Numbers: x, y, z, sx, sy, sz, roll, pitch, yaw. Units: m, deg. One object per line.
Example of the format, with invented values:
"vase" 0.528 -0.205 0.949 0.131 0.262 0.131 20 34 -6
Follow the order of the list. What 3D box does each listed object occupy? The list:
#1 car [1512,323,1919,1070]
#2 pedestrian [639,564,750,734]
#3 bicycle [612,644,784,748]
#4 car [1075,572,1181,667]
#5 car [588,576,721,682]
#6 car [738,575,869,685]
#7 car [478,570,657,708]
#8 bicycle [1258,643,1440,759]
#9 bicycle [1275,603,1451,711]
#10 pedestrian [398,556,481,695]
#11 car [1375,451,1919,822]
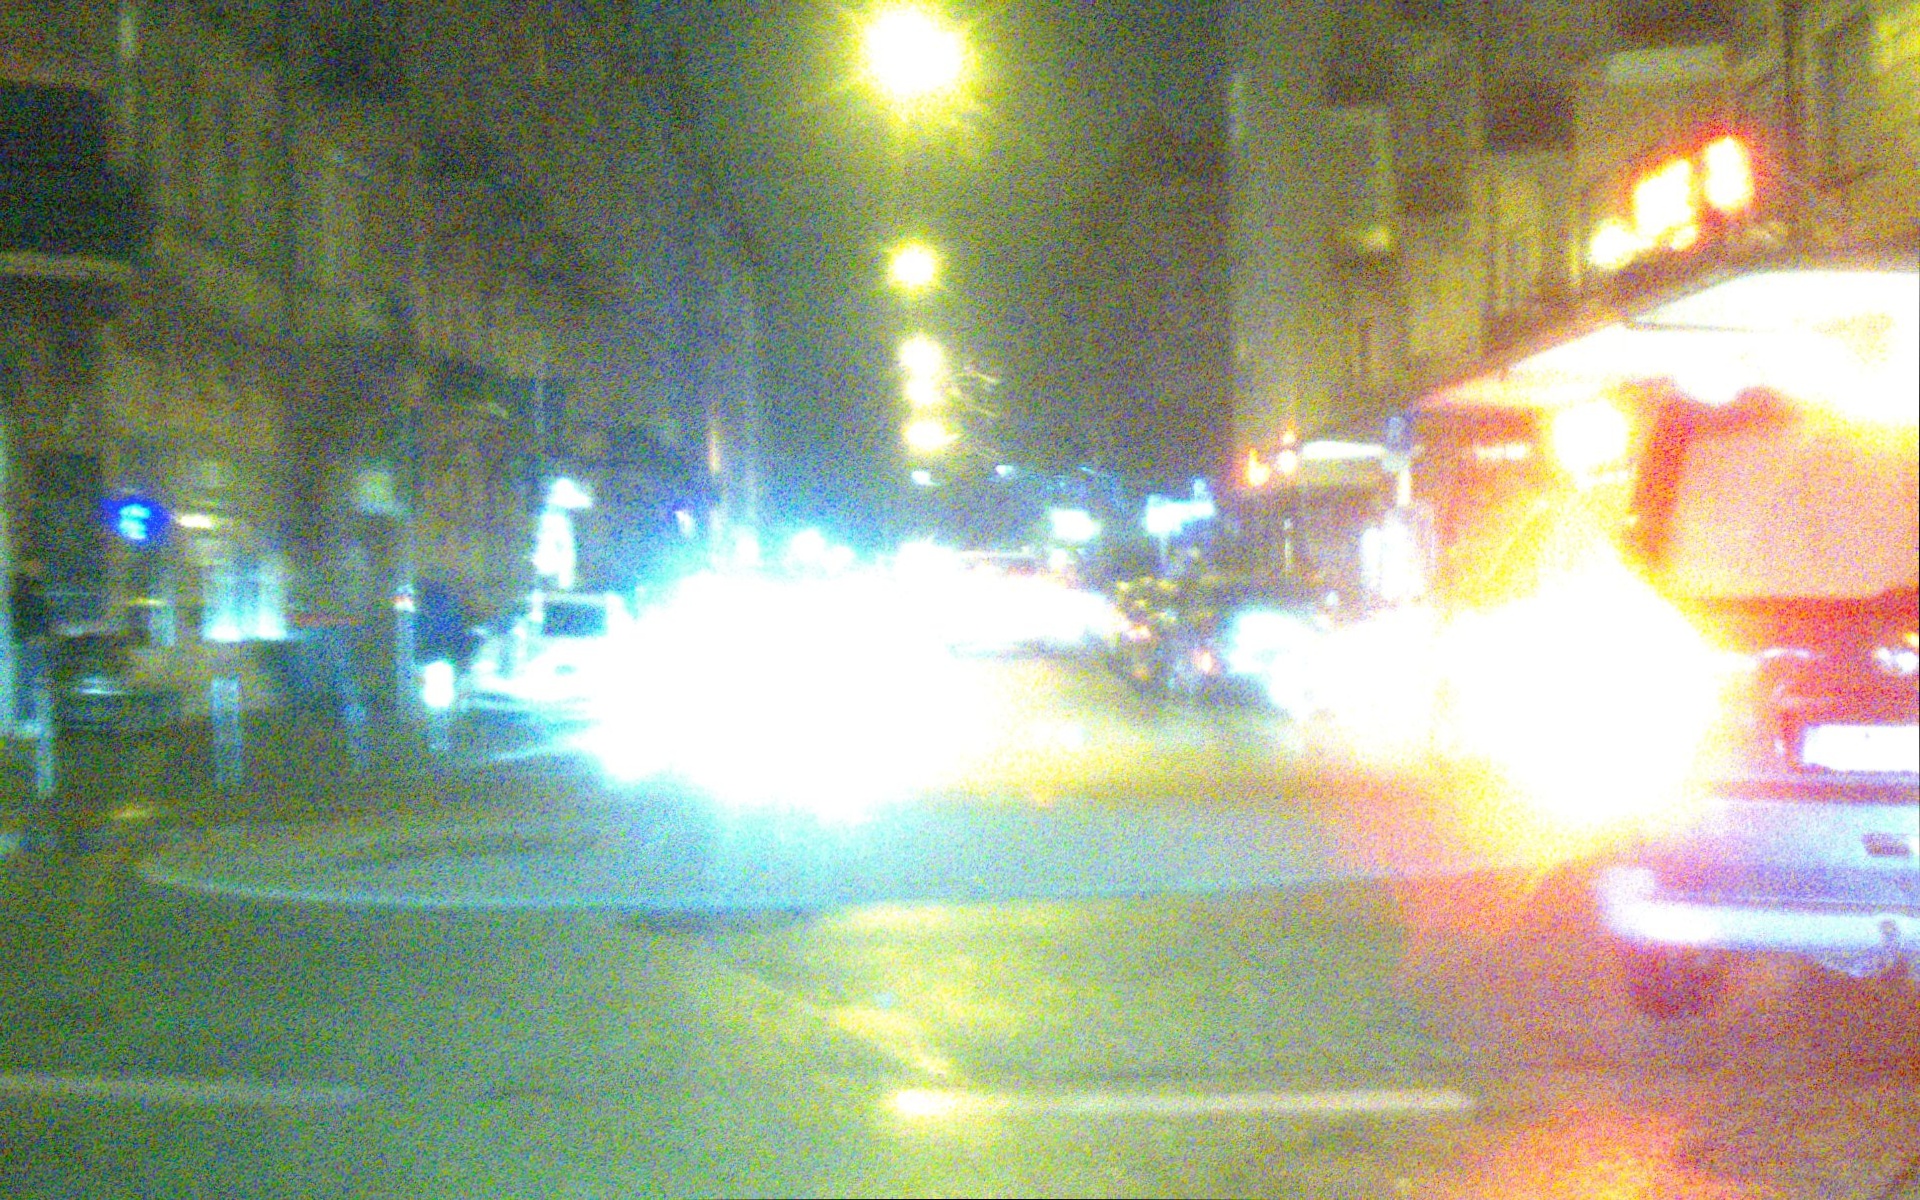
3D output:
"car" 3.184 0.238 11.344 2.124 1.984 4.597 0 0 16
"pedestrian" -2.877 0.521 37.288 1.122 1.805 0.715 -1 1 -1
"bicycle" -2.836 1.034 37.300 1.796 1.056 0.715 -1 1 -1
"car" 2.770 0.327 57.377 1.592 1.538 3.420 0 -1 0
"car" -4.337 0.388 49.184 1.586 1.444 3.503 0 1 0
"car" -2.181 0.392 48.664 1.563 1.422 4.069 -2 1 1
"car" -4.515 0.414 40.002 1.586 1.458 4.024 2 1 0
"bicycle" 3.979 1.028 35.220 1.783 1.121 0.436 -2 1 -2
"bicycle" 4.222 0.594 36.056 1.762 1.075 0.436 -1 1 -2
"pedestrian" -6.732 0.329 44.516 0.804 1.760 1.015 1 0 6
"car" 4.310 0.161 20.319 2.122 1.916 4.827 0 1 -14
